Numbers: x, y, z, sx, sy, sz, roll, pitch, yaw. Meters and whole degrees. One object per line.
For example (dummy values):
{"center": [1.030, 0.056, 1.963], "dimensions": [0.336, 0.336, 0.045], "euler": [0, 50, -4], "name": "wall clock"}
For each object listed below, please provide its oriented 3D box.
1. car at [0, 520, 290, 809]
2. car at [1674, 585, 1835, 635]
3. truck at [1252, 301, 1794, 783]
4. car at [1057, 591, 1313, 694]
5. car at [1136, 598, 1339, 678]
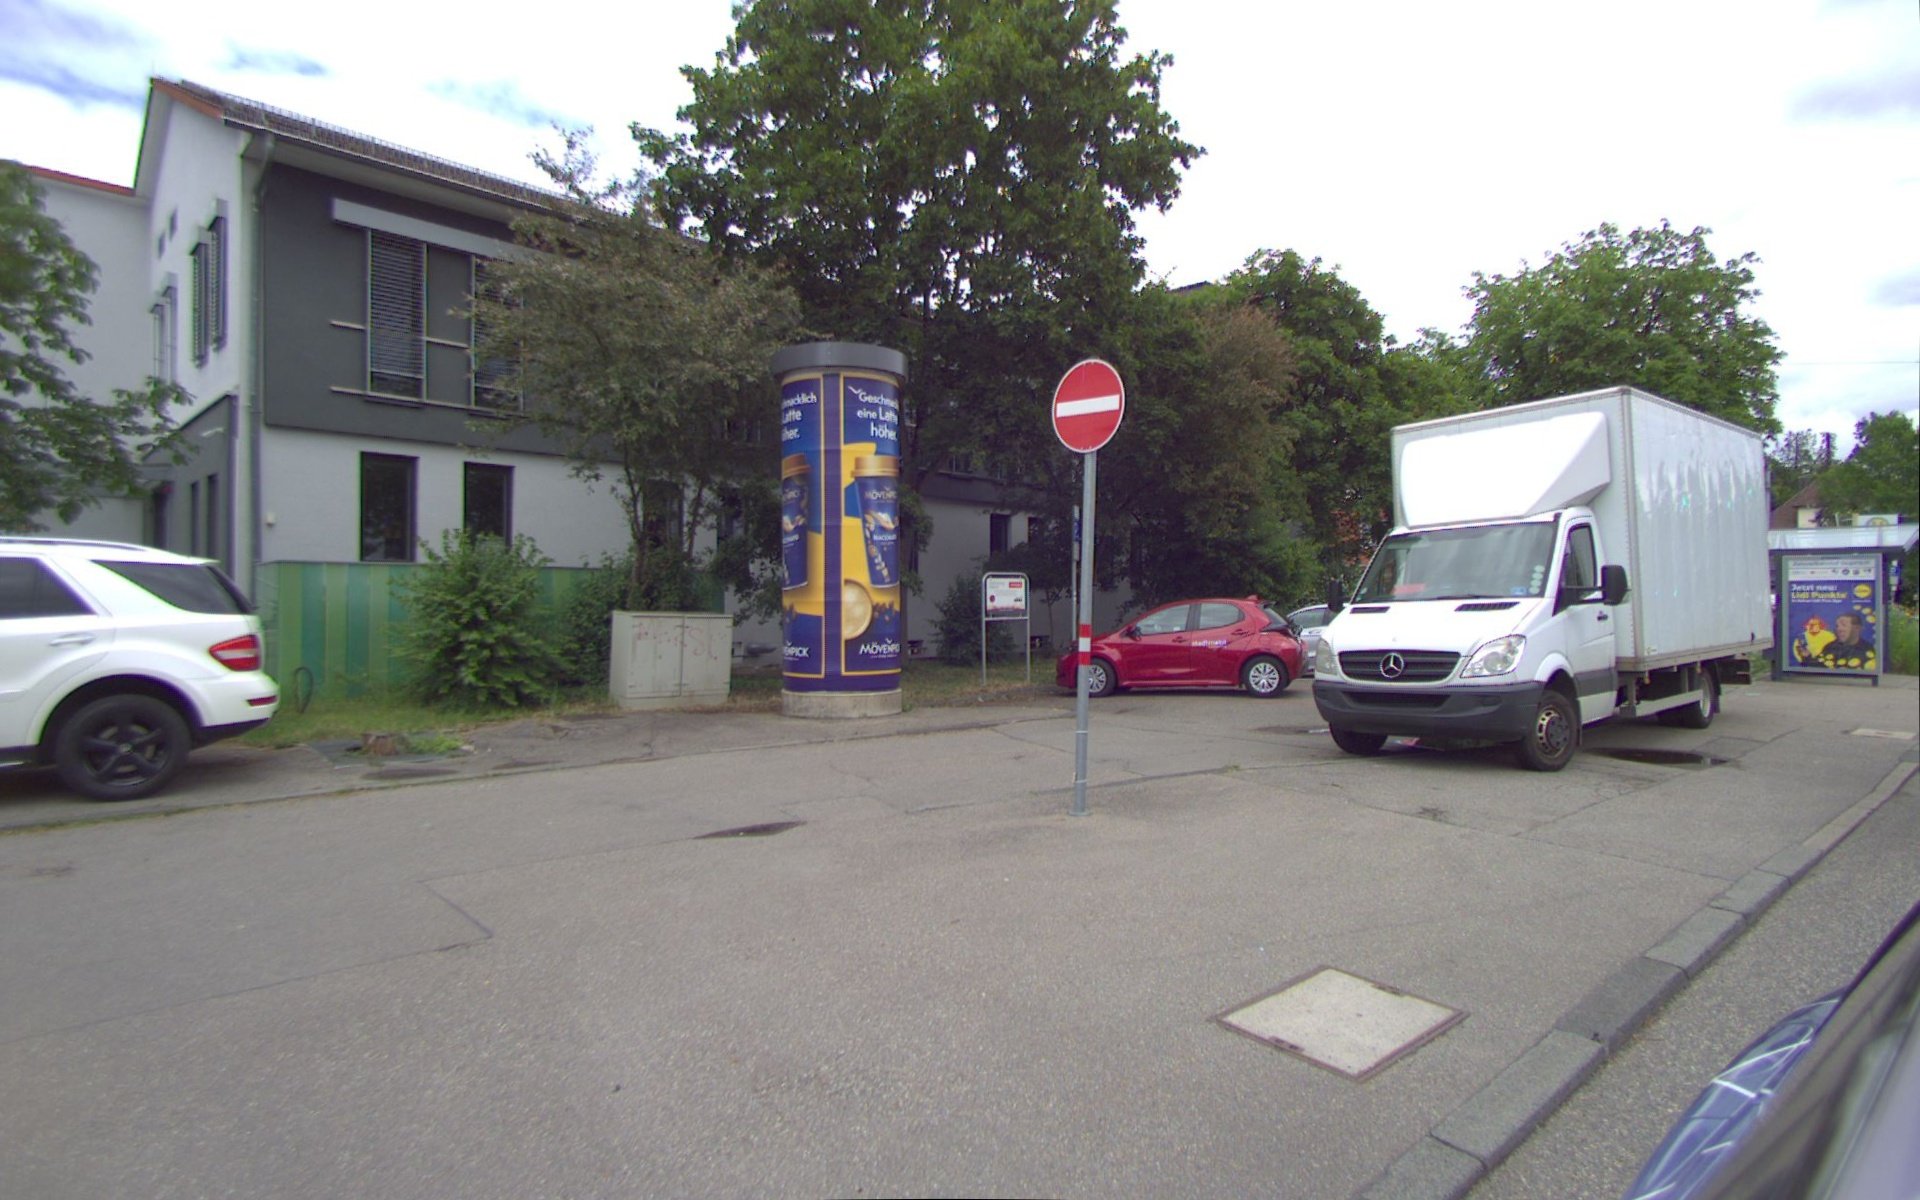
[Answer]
{"center": [-7.302, 0.400, 6.812], "dimensions": [4.440, 1.860, 1.997], "euler": [-1, 2, -42], "name": "car"}
{"center": [29.443, 0.348, 37.578], "dimensions": [4.602, 1.771, 1.852], "euler": [0, 0, -3], "name": "car"}
{"center": [6.483, -0.443, 10.953], "dimensions": [7.671, 3.570, 2.578], "euler": [0, 0, -40], "name": "truck"}
{"center": [3.504, 0.634, 15.792], "dimensions": [3.687, 1.464, 1.595], "euler": [-1, -2, 23], "name": "car"}
{"center": [5.532, 0.710, 20.250], "dimensions": [3.754, 1.492, 1.787], "euler": [0, 0, 19], "name": "car"}
